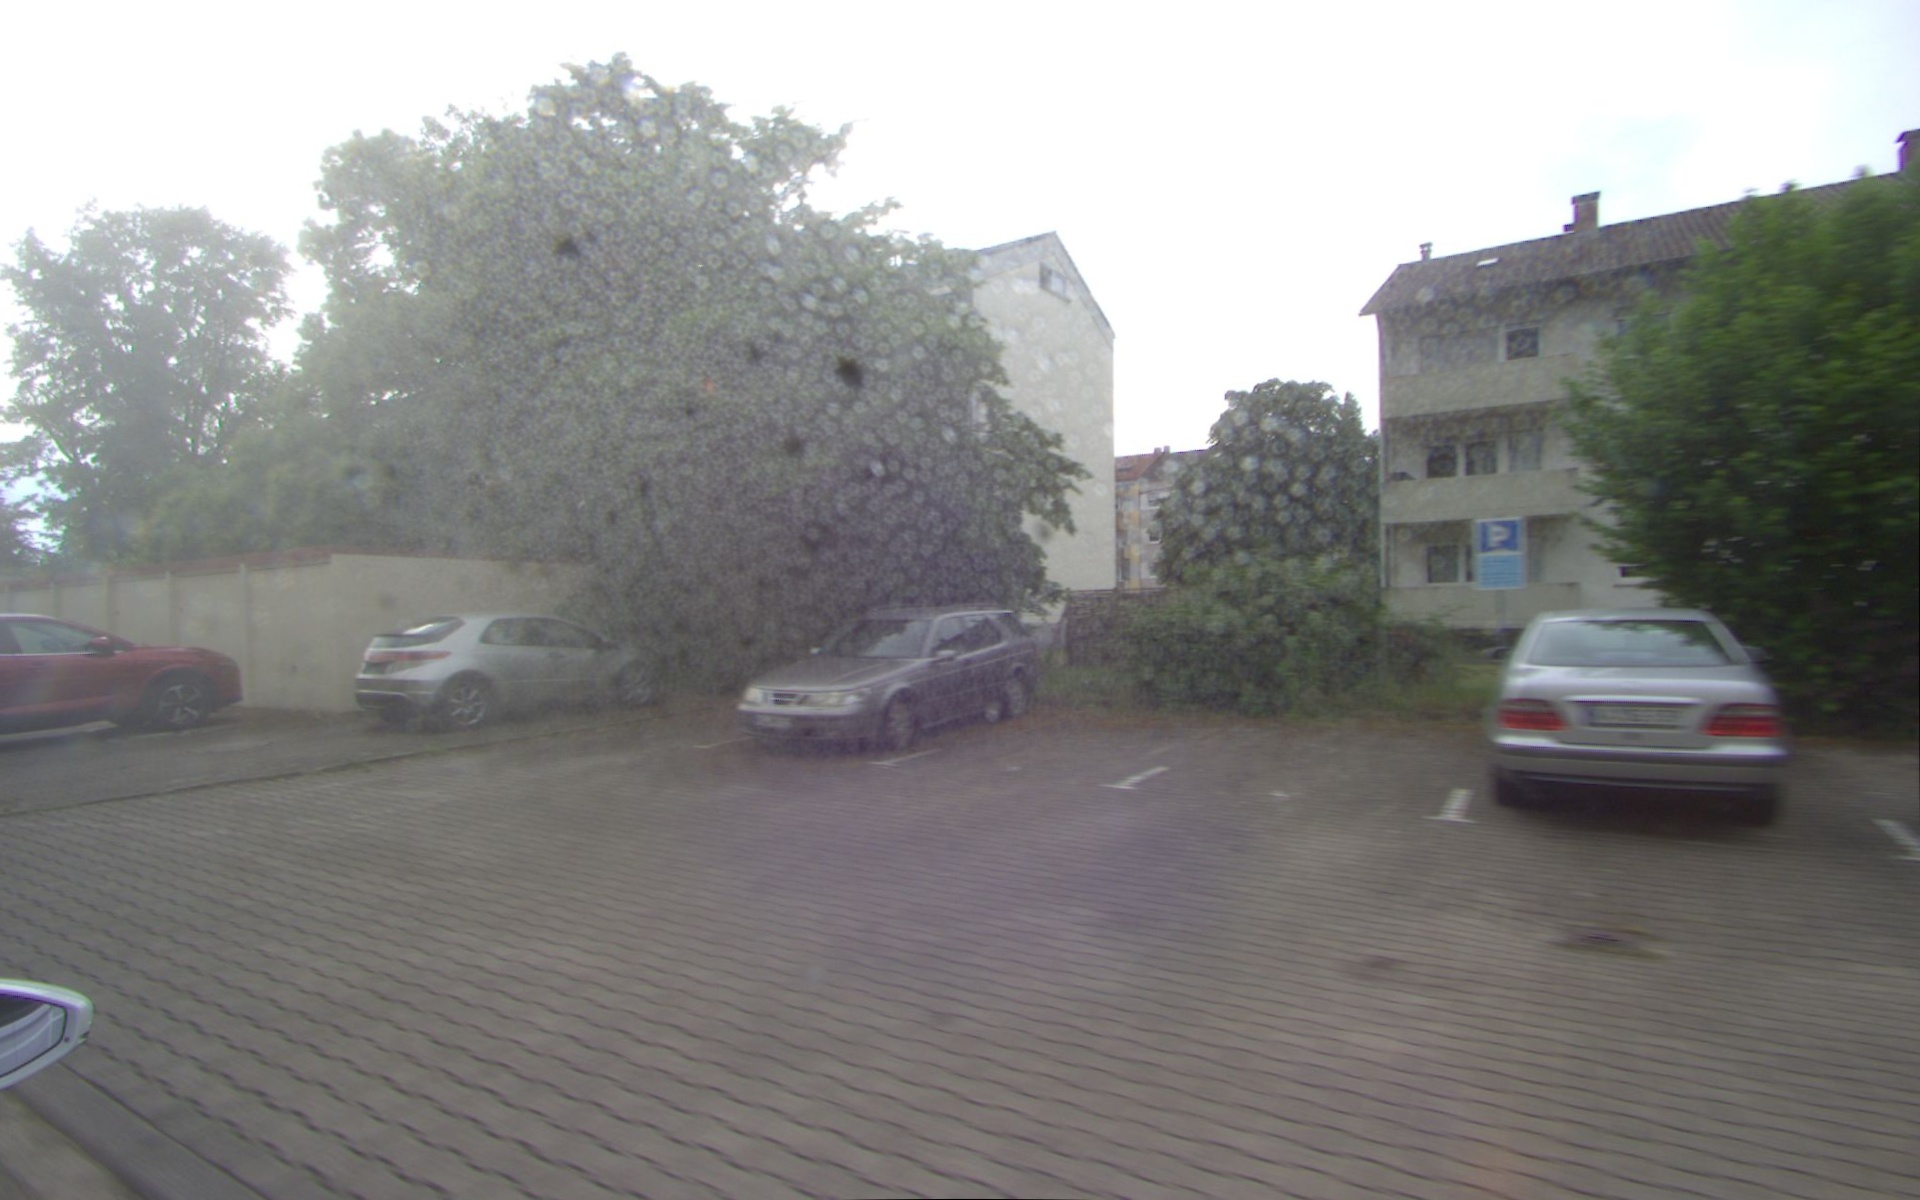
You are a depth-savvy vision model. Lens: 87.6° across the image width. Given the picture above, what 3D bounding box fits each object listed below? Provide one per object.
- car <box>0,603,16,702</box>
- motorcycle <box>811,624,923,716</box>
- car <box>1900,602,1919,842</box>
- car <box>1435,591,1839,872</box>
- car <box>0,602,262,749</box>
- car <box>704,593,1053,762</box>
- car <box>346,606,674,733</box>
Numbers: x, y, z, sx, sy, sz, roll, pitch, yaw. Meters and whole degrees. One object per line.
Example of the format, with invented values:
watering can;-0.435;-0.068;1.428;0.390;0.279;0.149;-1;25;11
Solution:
car;-18.902;1.002;16.698;1.971;1.751;4.185;-1;1;32
motorcycle;-1.263;0.939;13.952;0.710;1.138;1.606;-1;1;32
car;5.769;0.723;4.245;1.705;1.453;3.961;-1;0;30
car;5.031;0.723;7.901;1.996;1.404;4.383;-1;2;30
car;-11.515;0.901;12.398;1.907;1.607;4.278;-1;1;31
car;-0.718;0.742;11.988;1.839;1.551;4.565;-1;1;31
car;-6.006;0.836;13.783;1.689;1.466;3.816;-1;0;34
